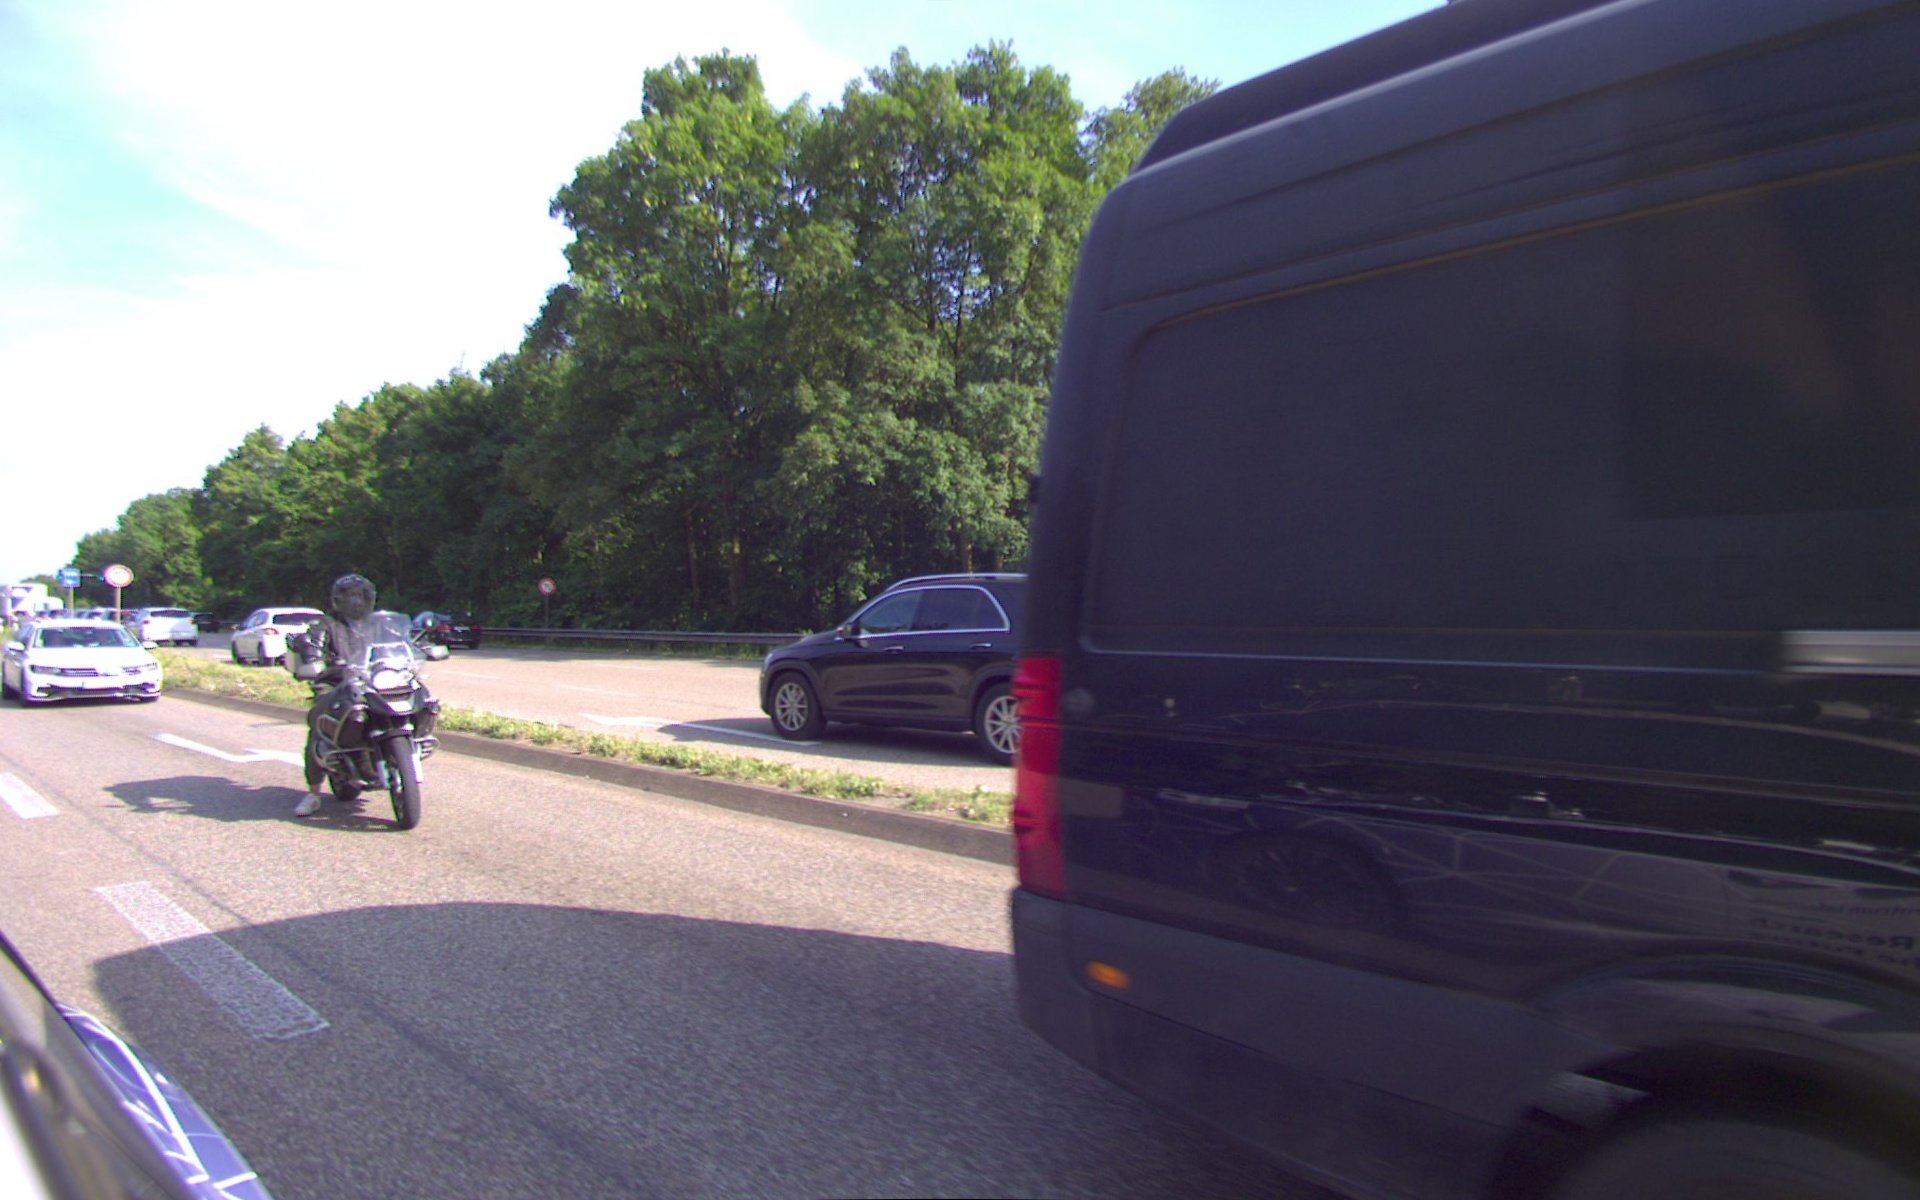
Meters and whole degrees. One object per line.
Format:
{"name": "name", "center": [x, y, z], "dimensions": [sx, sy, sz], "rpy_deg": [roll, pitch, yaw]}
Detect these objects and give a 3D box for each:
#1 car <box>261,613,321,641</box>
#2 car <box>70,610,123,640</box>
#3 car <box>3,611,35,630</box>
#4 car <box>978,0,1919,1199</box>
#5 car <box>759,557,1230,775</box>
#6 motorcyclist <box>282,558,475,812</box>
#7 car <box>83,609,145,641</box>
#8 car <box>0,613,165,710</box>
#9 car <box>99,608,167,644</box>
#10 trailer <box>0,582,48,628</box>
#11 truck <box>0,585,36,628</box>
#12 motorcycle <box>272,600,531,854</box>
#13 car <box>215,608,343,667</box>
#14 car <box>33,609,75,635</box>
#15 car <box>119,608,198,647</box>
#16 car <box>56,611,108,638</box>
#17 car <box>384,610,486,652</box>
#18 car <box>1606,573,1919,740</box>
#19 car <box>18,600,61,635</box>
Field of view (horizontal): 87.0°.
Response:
{"name": "car", "center": [-34.618, 1.406, 52.343], "dimensions": [4.376, 1.389, 1.719], "rpy_deg": [-1, -2, 44]}
{"name": "car", "center": [-43.934, 1.258, 51.464], "dimensions": [4.213, 1.434, 1.687], "rpy_deg": [-2, -2, 44]}
{"name": "car", "center": [-81.774, 1.788, 87.951], "dimensions": [4.370, 1.644, 1.681], "rpy_deg": [-1, -2, 43]}
{"name": "car", "center": [3.321, -0.034, 0.997], "dimensions": [7.013, 2.910, 2.185], "rpy_deg": [-2, -2, 44]}
{"name": "car", "center": [0.174, 0.603, 10.644], "dimensions": [4.754, 1.777, 2.054], "rpy_deg": [-1, -2, 41]}
{"name": "motorcyclist", "center": [-4.200, 0.547, 7.284], "dimensions": [0.873, 1.628, 1.291], "rpy_deg": [-3, 1, -44]}
{"name": "car", "center": [-39.919, 1.160, 47.714], "dimensions": [5.195, 1.434, 1.747], "rpy_deg": [-1, -2, 44]}
{"name": "car", "center": [-16.077, 1.032, 18.348], "dimensions": [4.833, 1.533, 1.850], "rpy_deg": [-1, -2, 43]}
{"name": "car", "center": [-35.338, 1.101, 43.206], "dimensions": [4.435, 1.428, 1.747], "rpy_deg": [-1, -2, 44]}
{"name": "trailer", "center": [-89.017, 0.583, 95.639], "dimensions": [14.014, 4.026, 2.959], "rpy_deg": [-1, 1, 43]}
{"name": "truck", "center": [-93.920, 0.699, 100.206], "dimensions": [6.721, 4.027, 2.860], "rpy_deg": [-1, 1, 43]}
{"name": "motorcycle", "center": [-4.018, 0.780, 7.136], "dimensions": [0.898, 1.464, 2.691], "rpy_deg": [3, -4, -44]}
{"name": "car", "center": [-17.850, 0.949, 26.464], "dimensions": [4.225, 1.422, 1.769], "rpy_deg": [-1, -2, 41]}
{"name": "car", "center": [-59.964, 1.476, 66.974], "dimensions": [4.802, 1.682, 1.751], "rpy_deg": [-2, -2, 44]}
{"name": "car", "center": [-31.086, 1.040, 39.222], "dimensions": [4.417, 1.428, 1.847], "rpy_deg": [-1, -2, 44]}
{"name": "car", "center": [-48.926, 1.376, 56.375], "dimensions": [5.194, 1.434, 1.751], "rpy_deg": [-1, -2, 44]}
{"name": "car", "center": [-19.659, 1.141, 37.811], "dimensions": [4.752, 1.417, 1.769], "rpy_deg": [-1, -1, 42]}
{"name": "car", "center": [9.089, 0.533, 10.093], "dimensions": [4.261, 1.515, 1.864], "rpy_deg": [-1, -2, 40]}
{"name": "car", "center": [-70.704, 1.344, 77.732], "dimensions": [6.165, 2.553, 2.052], "rpy_deg": [-2, -2, 44]}
